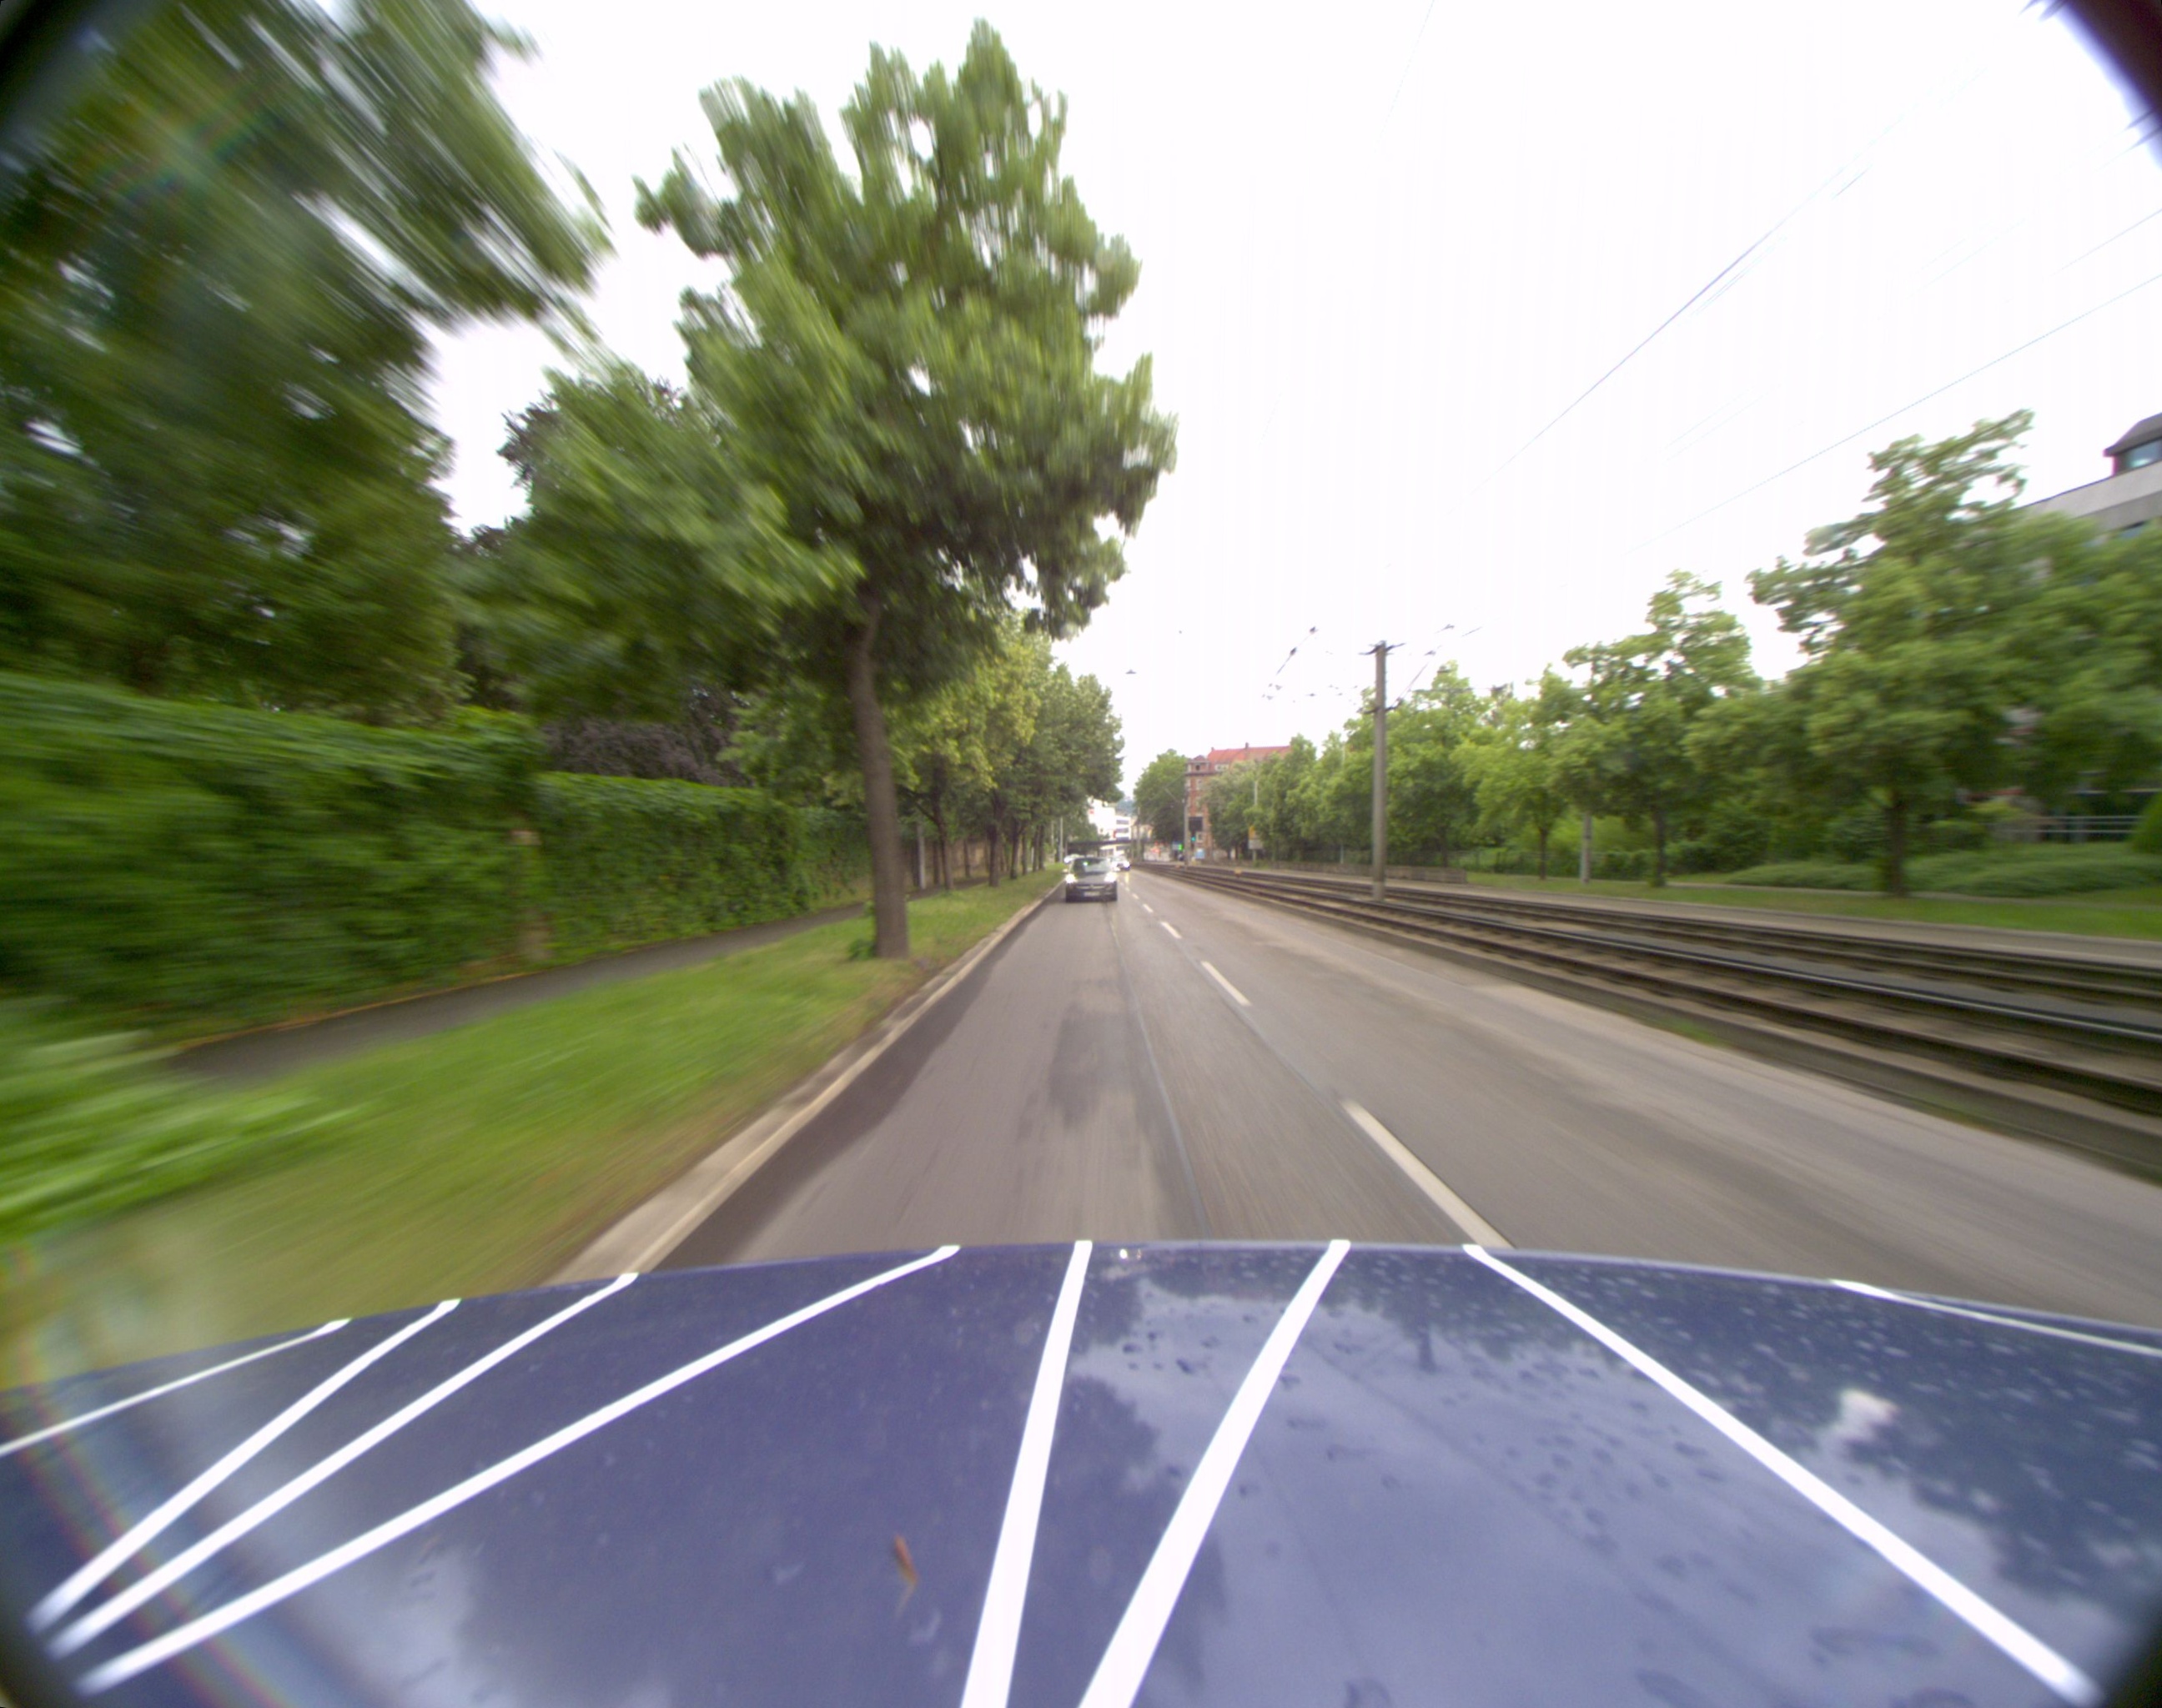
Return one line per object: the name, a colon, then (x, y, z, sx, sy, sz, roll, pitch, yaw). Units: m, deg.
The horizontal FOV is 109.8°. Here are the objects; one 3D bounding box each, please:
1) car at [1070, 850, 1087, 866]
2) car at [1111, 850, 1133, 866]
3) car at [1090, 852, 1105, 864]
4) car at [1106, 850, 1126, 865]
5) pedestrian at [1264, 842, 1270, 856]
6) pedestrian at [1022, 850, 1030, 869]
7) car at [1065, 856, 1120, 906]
car: (-0.348, 0.470, 95.461, 1.998, 2.002, 4.000, -2, 1, 1)
car: (3.741, 0.348, 69.684, 1.806, 1.483, 4.102, 0, 0, 0)
car: (2.706, 0.635, 126.769, 1.999, 1.801, 3.997, -2, 1, -6)
car: (3.782, 0.346, 82.863, 1.807, 1.484, 4.101, -1, 1, -2)
pedestrian: (25.192, -0.706, 103.072, 0.597, 1.892, 0.654, -2, 1, -3)
pedestrian: (-5.297, 0.548, 73.476, 0.710, 1.769, 0.900, -1, 1, -2)
car: (0.347, 0.813, 24.712, 1.658, 1.483, 3.829, 0, 0, 0)
